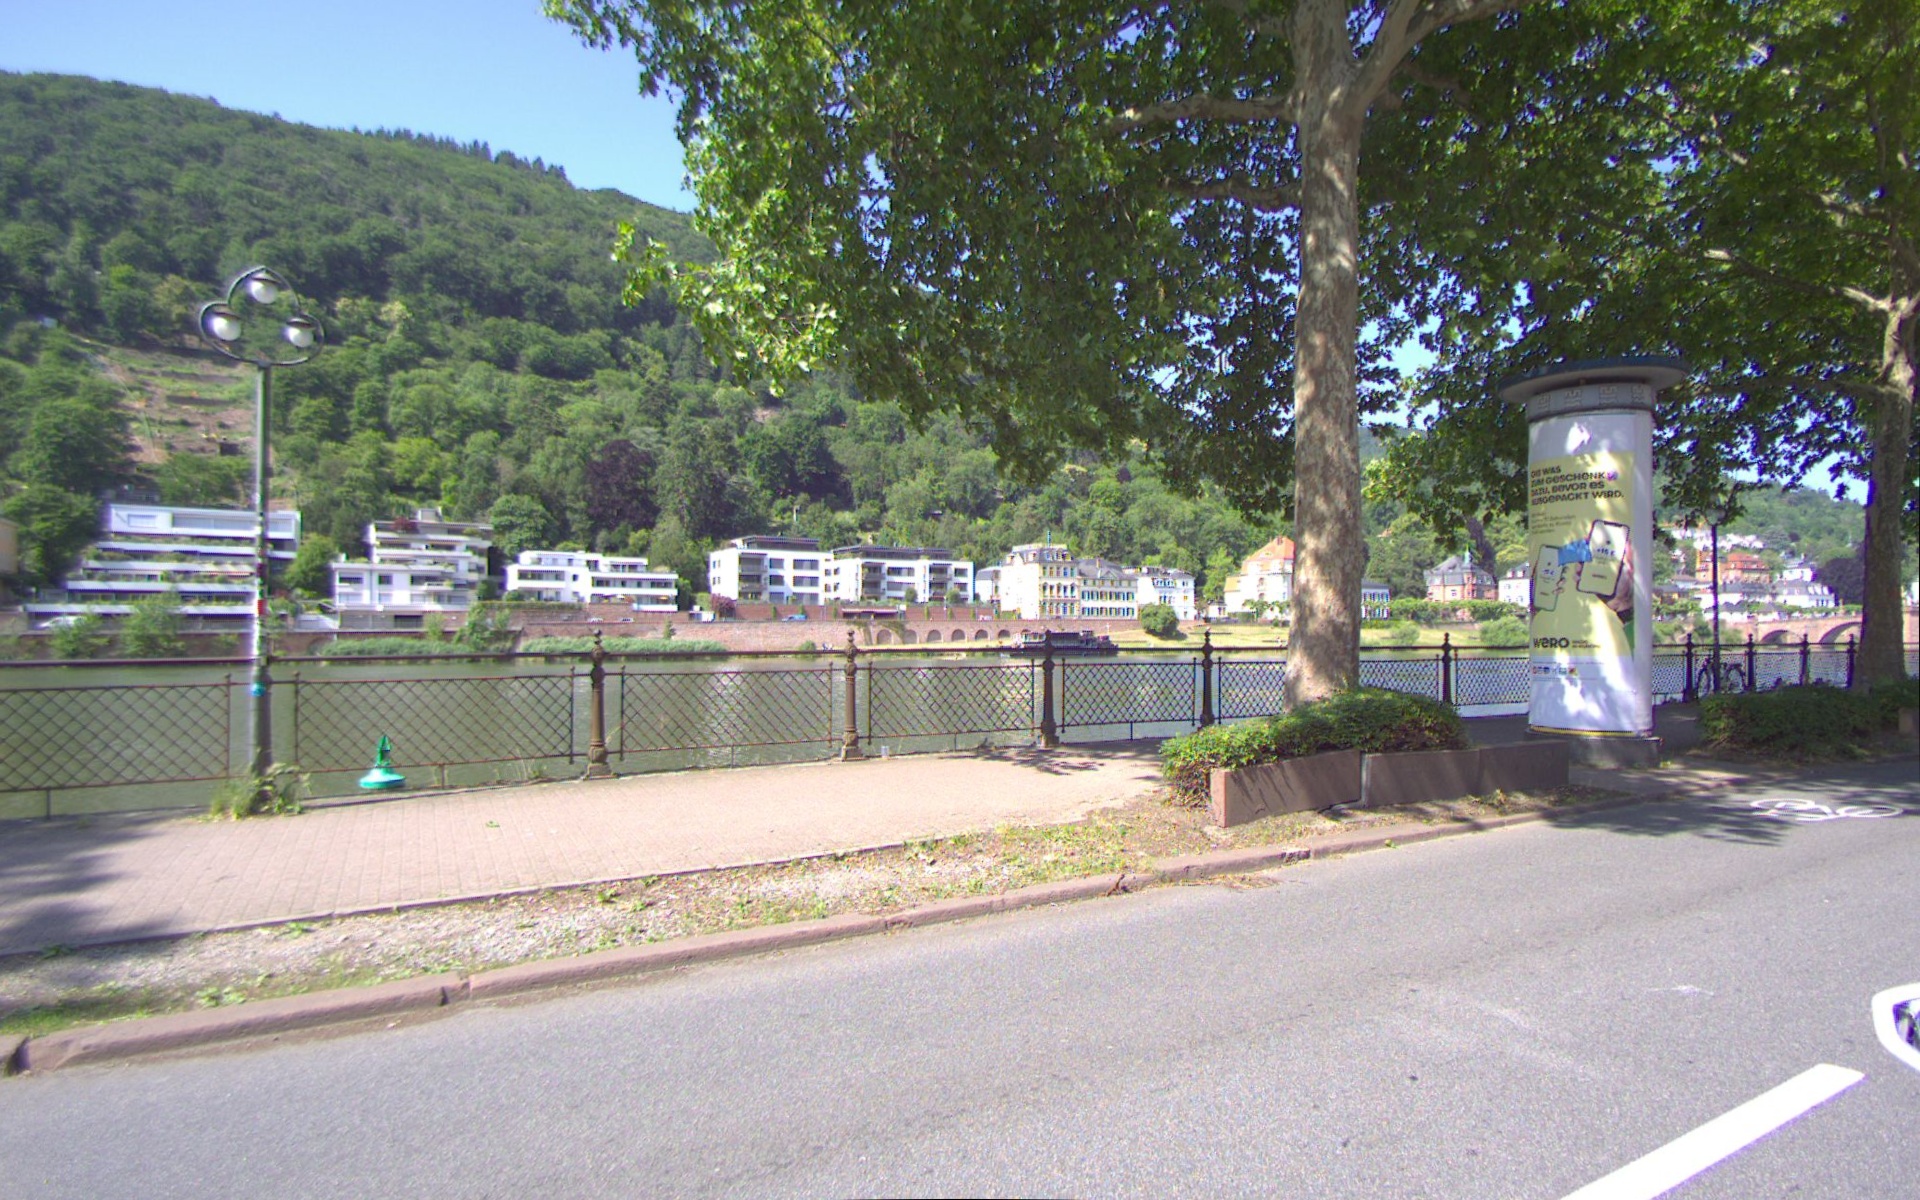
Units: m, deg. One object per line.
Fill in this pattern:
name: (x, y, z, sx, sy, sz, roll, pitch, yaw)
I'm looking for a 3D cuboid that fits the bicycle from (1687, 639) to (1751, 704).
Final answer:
bicycle: (14.402, 1.330, 19.039, 1.806, 1.177, 0.355, 1, -3, -33)
